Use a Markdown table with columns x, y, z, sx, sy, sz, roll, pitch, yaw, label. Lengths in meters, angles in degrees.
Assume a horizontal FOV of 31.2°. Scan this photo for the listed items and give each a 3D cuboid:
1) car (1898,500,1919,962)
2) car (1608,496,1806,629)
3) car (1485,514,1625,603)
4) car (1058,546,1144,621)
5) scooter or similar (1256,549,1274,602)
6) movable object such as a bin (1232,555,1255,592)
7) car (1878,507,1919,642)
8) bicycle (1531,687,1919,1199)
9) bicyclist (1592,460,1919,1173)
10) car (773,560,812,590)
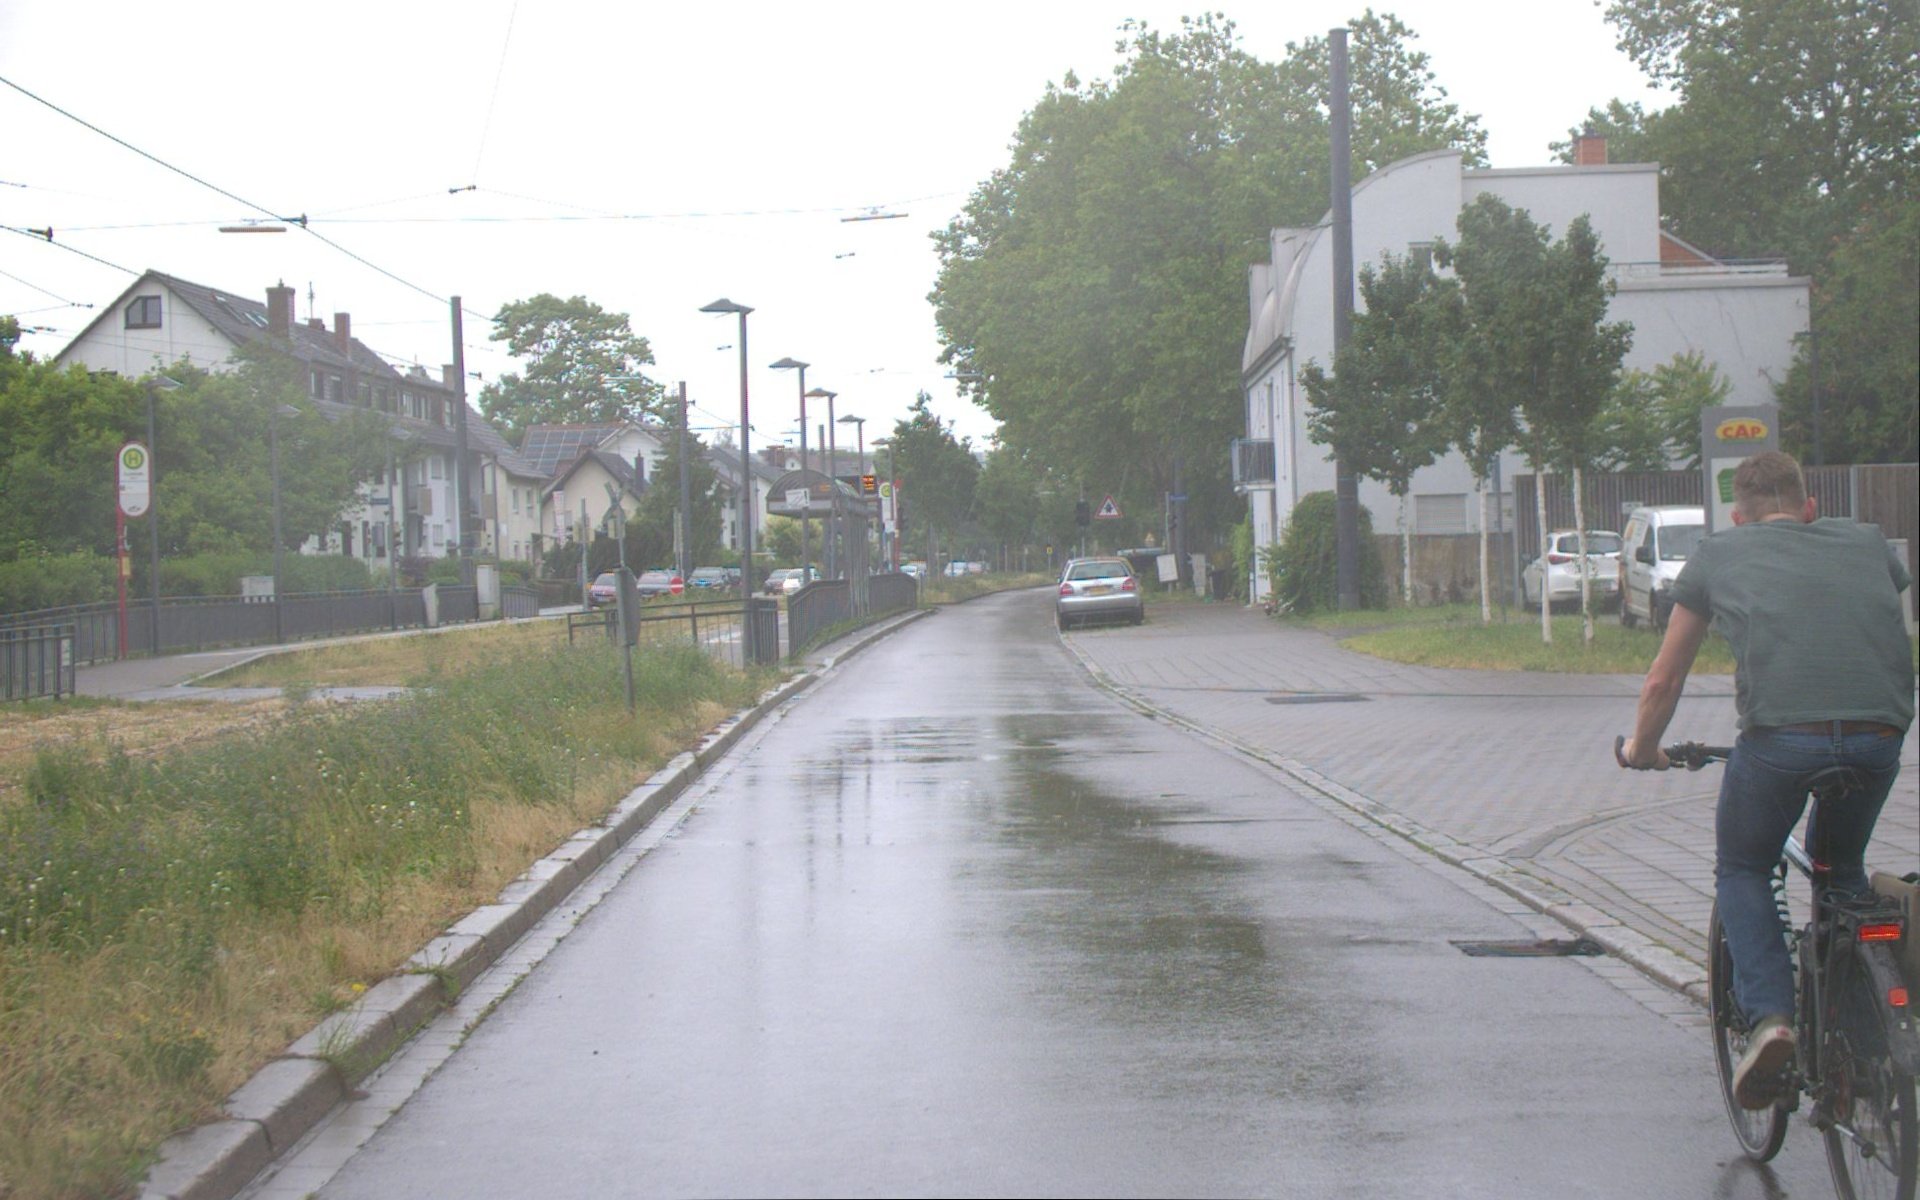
| x | y | z | sx | sy | sz | roll | pitch | yaw | label |
| --- | --- | --- | --- | --- | --- | --- | --- | --- | --- |
| 4.650 | 0.386 | 11.709 | 2.558 | 1.542 | 1.602 | -2 | 1 | -40 | car |
| 10.613 | -0.571 | 49.173 | 1.963 | 1.778 | 4.897 | -1 | 1 | 3 | car |
| 10.651 | -0.776 | 61.790 | 1.963 | 1.529 | 4.363 | -1 | 1 | 3 | car |
| 2.947 | -0.343 | 72.528 | 1.650 | 1.400 | 4.649 | -5 | 0 | 2 | car |
| 6.322 | -0.497 | 71.223 | 0.333 | 1.081 | 1.395 | -1 | 0 | 7 | scooter or similar |
| 8.013 | -0.755 | 97.202 | 0.536 | 1.018 | 0.739 | -4 | 0 | 1 | movable object such as a bin |
| 11.789 | -0.287 | 36.026 | 1.993 | 1.436 | 4.000 | -1 | 0 | -28 | car |
| 1.834 | 0.771 | 7.866 | 0.536 | 1.089 | 1.949 | -1 | 0 | -6 | bicycle |
| 1.840 | 0.471 | 7.918 | 0.534 | 1.554 | 0.772 | -1 | 0 | -7 | bicyclist |
| -8.493 | -1.265 | 174.678 | 1.633 | 1.488 | 4.000 | -1 | 0 | 2 | car |
